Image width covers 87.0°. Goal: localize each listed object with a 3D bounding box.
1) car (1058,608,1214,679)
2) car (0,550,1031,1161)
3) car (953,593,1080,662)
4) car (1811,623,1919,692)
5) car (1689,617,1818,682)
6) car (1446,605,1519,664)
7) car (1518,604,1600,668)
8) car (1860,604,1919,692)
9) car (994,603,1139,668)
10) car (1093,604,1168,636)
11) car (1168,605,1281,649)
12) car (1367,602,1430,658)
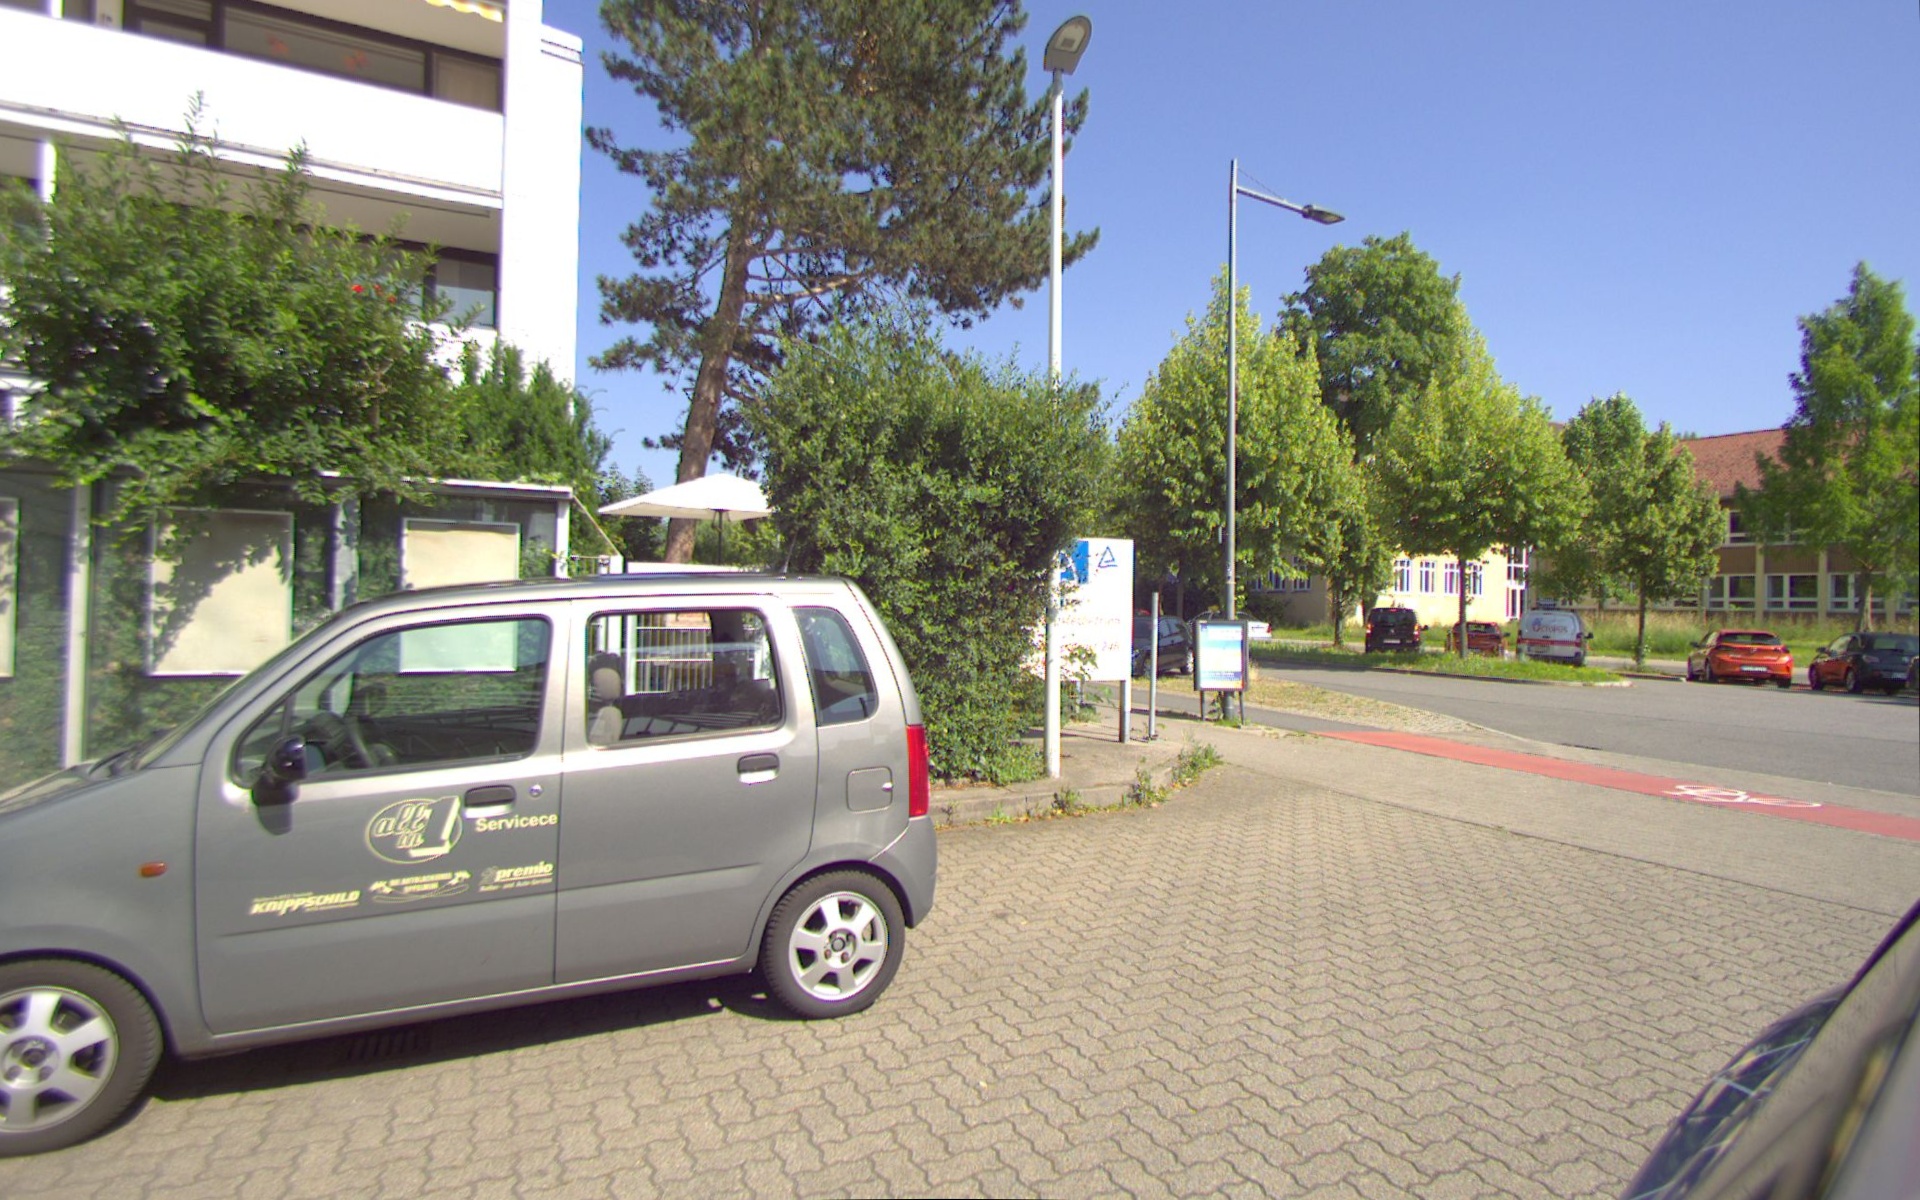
[{"bbox_3d":[4.180,1.013,23.537,1.871,1.435,4.168,2,-1,37],"label":"car"},{"bbox_3d":[-1.702,0.672,4.027,3.586,1.637,1.695,0,0,-24],"label":"car"},{"bbox_3d":[1.672,0.764,28.387,1.692,1.742,4.353,2,-1,31],"label":"car"},{"bbox_3d":[22.010,1.361,24.135,1.725,1.478,4.183,2,-1,28],"label":"car"},{"bbox_3d":[20.725,1.257,26.612,1.864,1.478,4.184,3,-1,28],"label":"car"},{"bbox_3d":[17.226,1.131,33.528,1.862,1.744,4.189,3,-1,25],"label":"car"},{"bbox_3d":[18.467,1.103,31.110,1.869,1.744,4.172,2,-1,34],"label":"car"},{"bbox_3d":[19.657,0.971,17.587,1.959,1.632,5.667,4,-2,-26],"label":"car"},{"bbox_3d":[2.854,0.921,26.371,1.871,1.500,4.168,2,-1,37],"label":"car"},{"bbox_3d":[8.542,1.012,50.654,3.665,1.408,1.877,4,-1,-45],"label":"car"},{"bbox_3d":[9.780,0.969,37.684,1.704,1.502,4.166,1,0,-27],"label":"car"},{"bbox_3d":[15.478,1.059,35.660,1.862,1.744,4.189,3,-1,25],"label":"car"}]
